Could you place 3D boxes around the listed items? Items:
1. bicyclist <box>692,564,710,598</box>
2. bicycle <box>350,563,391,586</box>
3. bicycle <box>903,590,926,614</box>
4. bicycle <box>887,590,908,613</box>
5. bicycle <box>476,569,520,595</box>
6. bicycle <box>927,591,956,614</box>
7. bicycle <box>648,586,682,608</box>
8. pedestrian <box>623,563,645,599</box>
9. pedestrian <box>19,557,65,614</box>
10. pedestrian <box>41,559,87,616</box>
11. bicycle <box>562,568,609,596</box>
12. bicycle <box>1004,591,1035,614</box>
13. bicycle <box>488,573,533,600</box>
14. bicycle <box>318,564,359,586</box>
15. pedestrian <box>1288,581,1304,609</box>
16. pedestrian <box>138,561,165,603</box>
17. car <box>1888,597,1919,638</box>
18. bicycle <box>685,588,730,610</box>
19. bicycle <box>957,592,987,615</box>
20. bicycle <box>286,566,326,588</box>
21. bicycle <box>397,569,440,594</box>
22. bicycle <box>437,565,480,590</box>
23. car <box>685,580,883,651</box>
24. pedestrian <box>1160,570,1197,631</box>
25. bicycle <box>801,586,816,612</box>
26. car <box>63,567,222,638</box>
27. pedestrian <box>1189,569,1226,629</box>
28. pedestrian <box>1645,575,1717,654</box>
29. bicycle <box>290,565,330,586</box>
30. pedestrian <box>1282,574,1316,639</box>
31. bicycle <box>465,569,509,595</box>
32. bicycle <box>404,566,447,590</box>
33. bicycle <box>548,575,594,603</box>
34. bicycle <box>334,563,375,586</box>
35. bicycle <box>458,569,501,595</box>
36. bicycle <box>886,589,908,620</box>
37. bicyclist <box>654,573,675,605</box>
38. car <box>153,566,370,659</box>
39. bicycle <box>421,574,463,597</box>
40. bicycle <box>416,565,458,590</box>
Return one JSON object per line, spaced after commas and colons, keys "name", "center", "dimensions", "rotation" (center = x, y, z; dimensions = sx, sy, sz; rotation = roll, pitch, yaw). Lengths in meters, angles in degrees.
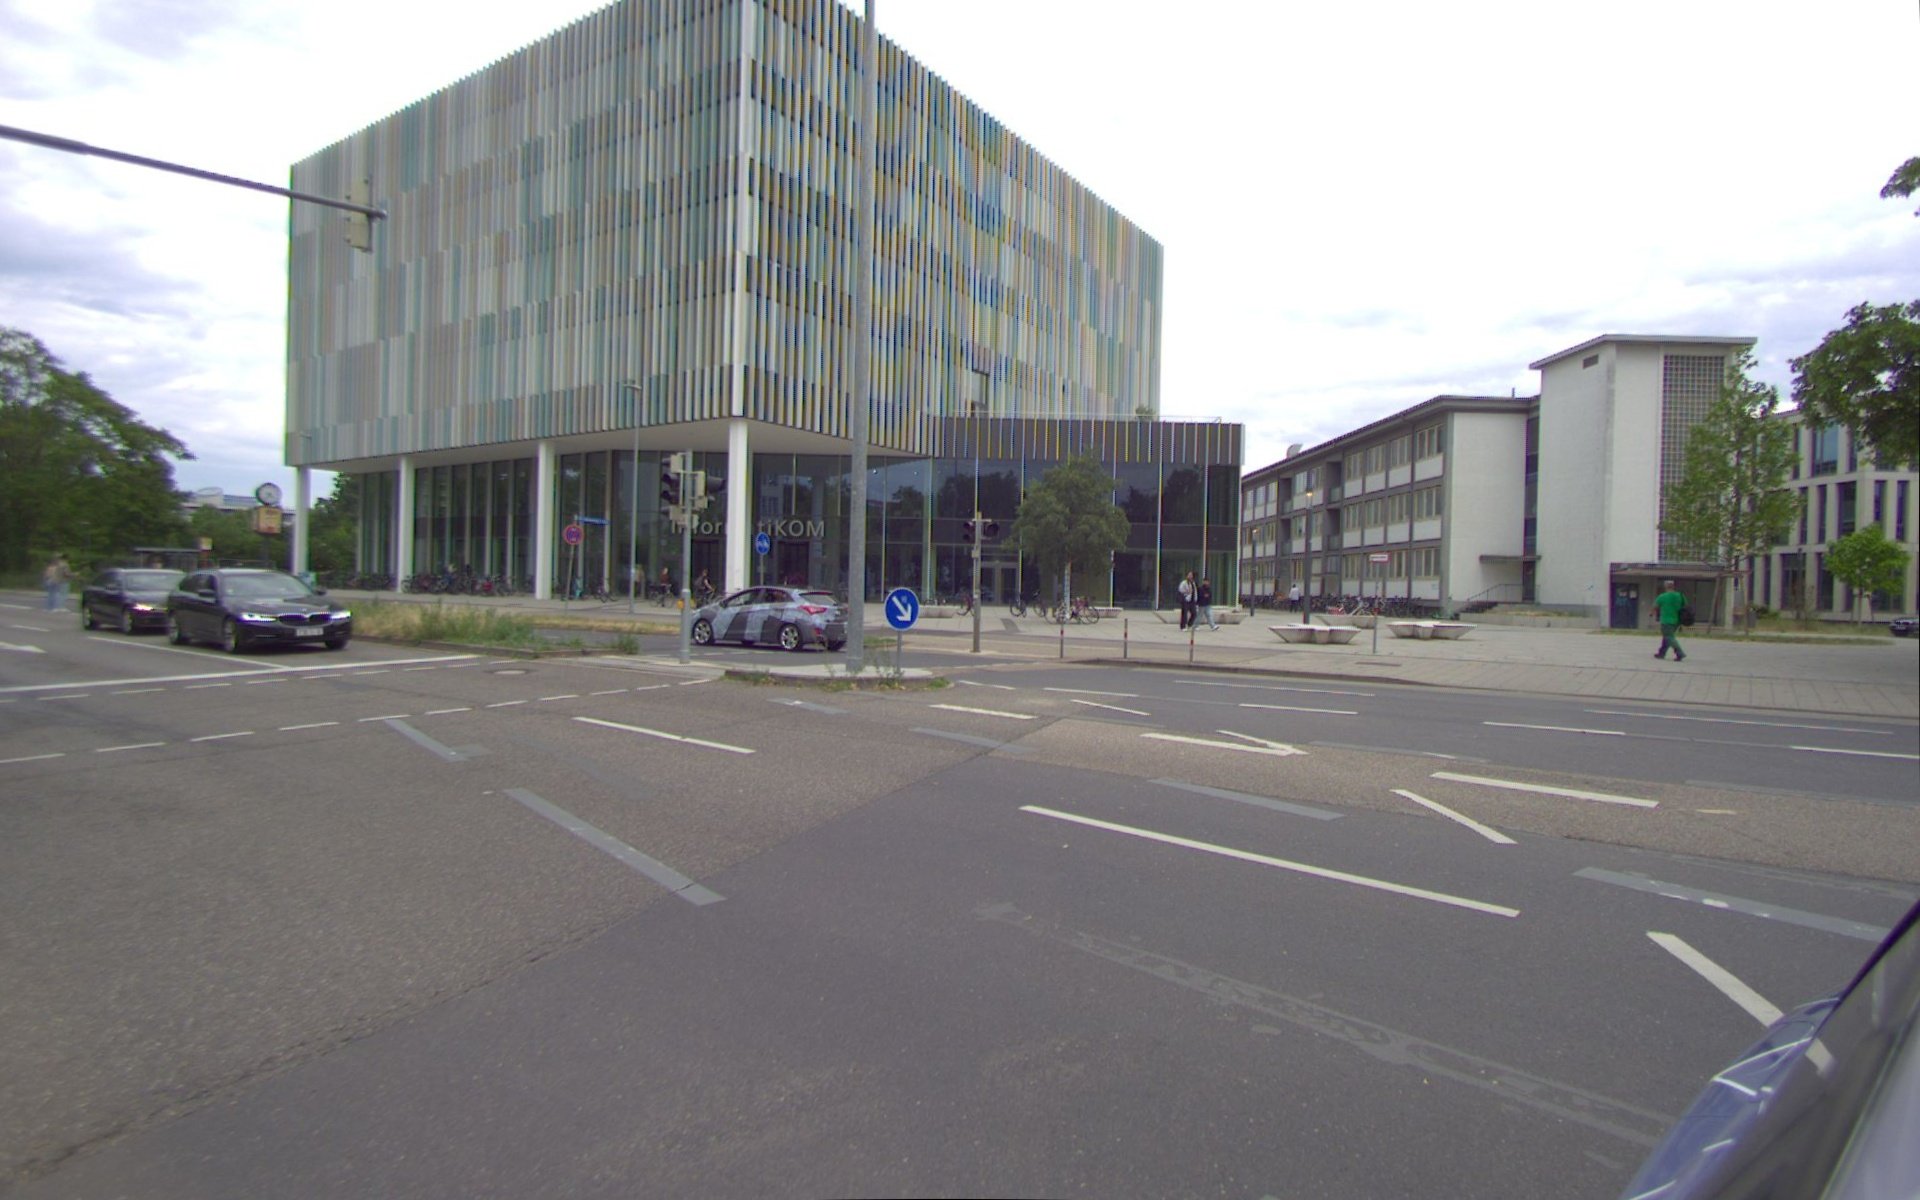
{"name": "bicyclist", "center": [-11.237, -0.823, 43.867], "dimensions": [0.594, 1.487, 0.483], "rotation": [1, 0, -38]}
{"name": "bicycle", "center": [-35.836, -1.558, 61.523], "dimensions": [0.624, 1.275, 2.079], "rotation": [-1, -3, 33]}
{"name": "bicycle", "center": [-1.950, 0.075, 43.166], "dimensions": [0.537, 0.947, 2.014], "rotation": [0, 1, -15]}
{"name": "bicycle", "center": [-2.663, 0.056, 43.039], "dimensions": [0.474, 0.947, 2.014], "rotation": [0, 1, -15]}
{"name": "bicycle", "center": [-24.744, -0.961, 54.251], "dimensions": [0.625, 1.275, 2.074], "rotation": [-1, -3, 39]}
{"name": "bicycle", "center": [-0.796, 0.095, 42.867], "dimensions": [0.474, 0.947, 2.014], "rotation": [0, 1, -23]}
{"name": "bicycle", "center": [-13.070, -0.140, 44.783], "dimensions": [0.609, 0.937, 1.911], "rotation": [0, 1, -45]}
{"name": "pedestrian", "center": [-16.653, -0.987, 51.722], "dimensions": [0.758, 1.810, 0.792], "rotation": [2, 1, 36]}
{"name": "pedestrian", "center": [-29.545, -0.457, 32.569], "dimensions": [0.880, 1.811, 0.713], "rotation": [1, 0, 11]}
{"name": "pedestrian", "center": [-28.688, -0.396, 32.408], "dimensions": [0.880, 1.811, 0.713], "rotation": [1, 0, 11]}
{"name": "bicycle", "center": [-18.289, -0.857, 49.481], "dimensions": [0.625, 1.275, 2.074], "rotation": [-1, -3, 39]}
{"name": "bicycle", "center": [2.545, 0.112, 43.783], "dimensions": [0.474, 0.947, 2.014], "rotation": [0, 1, -23]}
{"name": "bicycle", "center": [-23.758, -0.704, 53.516], "dimensions": [0.625, 1.275, 2.074], "rotation": [-1, -3, 39]}
{"name": "bicycle", "center": [-38.935, -1.553, 63.392], "dimensions": [0.624, 1.275, 2.079], "rotation": [-1, -3, 33]}
{"name": "pedestrian", "center": [22.079, -0.353, 66.441], "dimensions": [0.761, 1.811, 0.761], "rotation": [1, 0, 1]}
{"name": "pedestrian", "center": [-35.951, -0.813, 45.009], "dimensions": [0.585, 1.832, 0.798], "rotation": [1, 0, 39]}
{"name": "car", "center": [44.064, 0.755, 44.535], "dimensions": [4.320, 1.604, 1.996], "rotation": [0, -10, 1]}
{"name": "bicycle", "center": [-10.985, -0.039, 44.073], "dimensions": [1.881, 0.937, 0.483], "rotation": [0, 1, -38]}
{"name": "bicycle", "center": [0.501, 0.131, 43.107], "dimensions": [0.474, 0.947, 2.014], "rotation": [0, 1, -23]}
{"name": "bicycle", "center": [-42.669, -1.507, 66.063], "dimensions": [0.624, 1.275, 2.079], "rotation": [-1, -3, 33]}
{"name": "bicycle", "center": [-30.880, -1.052, 57.751], "dimensions": [0.624, 1.275, 2.079], "rotation": [-1, -3, 33]}
{"name": "bicycle", "center": [-27.863, -1.229, 56.268], "dimensions": [0.624, 1.275, 2.079], "rotation": [-1, -3, 33]}
{"name": "car", "center": [-4.101, 0.343, 23.552], "dimensions": [4.187, 1.487, 1.980], "rotation": [1, -2, 27]}
{"name": "pedestrian", "center": [6.665, 0.009, 30.931], "dimensions": [0.829, 1.811, 0.896], "rotation": [1, 0, -7]}
{"name": "bicycle", "center": [-6.458, -0.059, 43.143], "dimensions": [0.474, 1.058, 1.918], "rotation": [0, 1, -4]}
{"name": "car", "center": [-18.679, 0.005, 23.070], "dimensions": [3.978, 1.471, 1.973], "rotation": [1, 1, 38]}
{"name": "pedestrian", "center": [7.633, -0.033, 31.261], "dimensions": [0.829, 1.811, 0.896], "rotation": [1, 0, -7]}
{"name": "pedestrian", "center": [16.203, 0.331, 22.755], "dimensions": [0.931, 1.736, 0.907], "rotation": [1, -2, -11]}
{"name": "bicycle", "center": [-42.092, -1.580, 65.527], "dimensions": [0.624, 1.275, 2.079], "rotation": [-1, -3, 33]}
{"name": "pedestrian", "center": [8.879, 0.176, 26.532], "dimensions": [0.605, 1.687, 0.626], "rotation": [0, -1, -15]}
{"name": "bicycle", "center": [-25.569, -0.961, 54.727], "dimensions": [0.624, 1.275, 2.079], "rotation": [-1, -3, 33]}
{"name": "bicycle", "center": [-30.294, -1.238, 57.383], "dimensions": [0.624, 1.275, 2.079], "rotation": [-1, -3, 33]}
{"name": "bicycle", "center": [-19.272, -0.537, 50.178], "dimensions": [0.625, 1.275, 2.074], "rotation": [-1, -3, 39]}
{"name": "bicycle", "center": [-37.390, -1.554, 62.499], "dimensions": [0.624, 1.275, 2.079], "rotation": [-1, -3, 33]}
{"name": "bicycle", "center": [-26.138, -0.960, 55.064], "dimensions": [0.624, 1.275, 2.079], "rotation": [-1, -3, 33]}
{"name": "bicycle", "center": [-2.214, 0.144, 35.599], "dimensions": [0.475, 1.058, 1.781], "rotation": [1, 1, 6]}
{"name": "bicyclist", "center": [-13.104, -0.488, 44.816], "dimensions": [0.716, 1.400, 0.609], "rotation": [1, 0, 44]}
{"name": "car", "center": [-13.090, 0.145, 18.910], "dimensions": [4.264, 1.507, 1.976], "rotation": [2, 3, 35]}
{"name": "bicycle", "center": [-28.955, -0.821, 56.600], "dimensions": [0.624, 1.274, 2.080], "rotation": [1, 1, 33]}
{"name": "bicycle", "center": [-29.460, -1.234, 57.033], "dimensions": [0.624, 1.275, 2.079], "rotation": [-1, -3, 33]}
